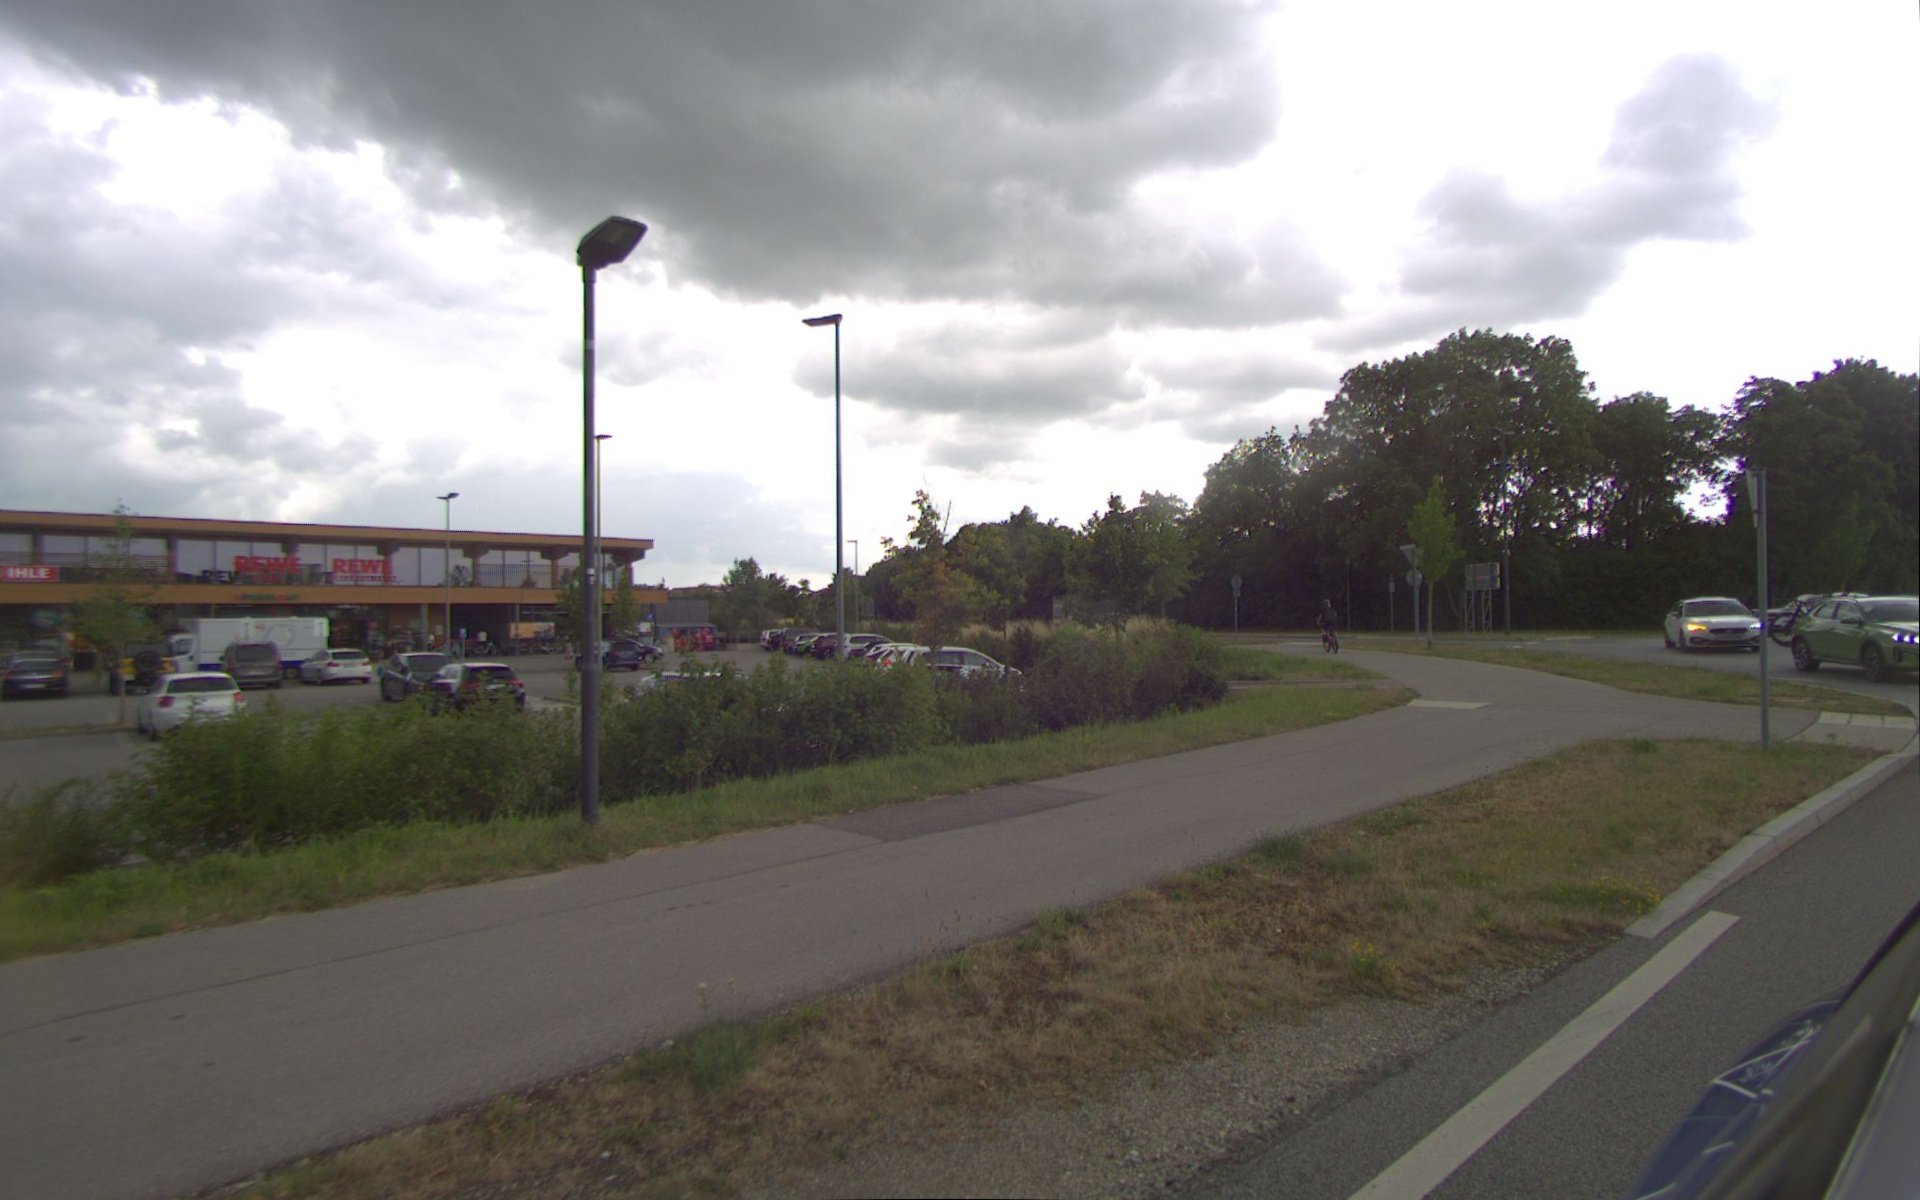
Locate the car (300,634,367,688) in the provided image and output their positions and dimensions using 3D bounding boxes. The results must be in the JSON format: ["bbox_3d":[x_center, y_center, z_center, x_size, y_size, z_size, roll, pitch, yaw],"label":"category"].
[{"bbox_3d":[-25.669,2.433,41.410,2.032,1.871,3.999,0,1,-36],"label":"car"}]

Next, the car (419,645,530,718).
[{"bbox_3d":[-12.853,2.113,26.729,1.771,1.728,3.385,0,-3,-42],"label":"car"}]

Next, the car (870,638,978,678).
[{"bbox_3d":[-1.412,2.232,39.442,3.916,1.377,1.848,0,1,-13],"label":"car"}]

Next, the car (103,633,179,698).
[{"bbox_3d":[-30.212,2.357,37.441,1.962,2.039,3.999,0,1,-36],"label":"car"}]

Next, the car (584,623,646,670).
[{"bbox_3d":[-16.768,2.210,49.052,1.961,2.039,4.002,0,1,-32],"label":"car"}]

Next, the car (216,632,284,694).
[{"bbox_3d":[-27.321,2.362,38.917,2.032,2.039,3.999,0,1,-36],"label":"car"}]

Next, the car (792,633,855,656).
[{"bbox_3d":[-8.892,2.865,65.996,3.916,1.377,1.705,0,1,-13],"label":"car"}]

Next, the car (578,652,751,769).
[{"bbox_3d":[-5.726,1.998,19.337,1.629,1.727,3.993,0,1,-42],"label":"car"}]

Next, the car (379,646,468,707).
[{"bbox_3d":[-17.038,2.358,32.048,1.962,1.504,4.131,0,1,-36],"label":"car"}]

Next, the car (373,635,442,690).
[{"bbox_3d":[-22.772,2.517,41.652,1.962,1.894,4.273,0,1,-36],"label":"car"}]

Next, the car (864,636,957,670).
[{"bbox_3d":[-2.247,2.369,45.301,3.916,1.377,1.705,0,1,-13],"label":"car"}]

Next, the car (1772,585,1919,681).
[{"bbox_3d":[17.759,0.535,19.263,1.846,1.608,5.033,-1,0,18],"label":"car"}]

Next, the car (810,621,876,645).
[{"bbox_3d":[-7.302,2.039,63.113,3.916,1.377,1.705,0,1,-13],"label":"car"}]

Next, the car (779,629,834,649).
[{"bbox_3d":[-11.269,2.830,74.218,3.916,1.377,1.705,0,1,-13],"label":"car"}]

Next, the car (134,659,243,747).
[{"bbox_3d":[-17.653,2.274,23.114,1.723,1.552,3.554,0,1,-42],"label":"car"}]

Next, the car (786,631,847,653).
[{"bbox_3d":[-9.704,2.856,68.481,3.916,1.377,1.705,0,1,-13],"label":"car"}]

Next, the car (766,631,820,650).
[{"bbox_3d":[-12.687,3.061,76.772,3.916,1.377,1.705,0,1,-13],"label":"car"}]

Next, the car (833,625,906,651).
[{"bbox_3d":[-5.175,2.127,57.559,3.916,1.377,1.705,0,1,-13],"label":"car"}]

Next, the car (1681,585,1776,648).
[{"bbox_3d":[20.796,0.410,27.529,1.859,1.561,4.146,-2,0,35],"label":"car"}]

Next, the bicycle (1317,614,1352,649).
[{"bbox_3d":[11.252,0.943,30.442,0.557,0.974,1.301,0,1,-1],"label":"bicycle"}]

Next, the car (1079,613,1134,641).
[{"bbox_3d":[10.520,1.903,72.798,1.959,1.794,4.080,0,1,-27],"label":"car"}]

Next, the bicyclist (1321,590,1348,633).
[{"bbox_3d":[11.250,0.346,30.429,0.545,1.259,0.659,0,0,-1],"label":"bicyclist"}]

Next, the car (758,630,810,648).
[{"bbox_3d":[-13.891,3.065,79.941,3.916,1.377,1.705,0,1,-13],"label":"car"}]

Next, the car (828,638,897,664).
[{"bbox_3d":[-5.855,3.043,60.702,3.916,1.377,1.705,0,1,-13],"label":"car"}]

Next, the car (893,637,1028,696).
[{"bbox_3d":[-0.008,2.143,33.209,4.154,1.738,1.705,0,0,-13],"label":"car"}]

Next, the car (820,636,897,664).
[{"bbox_3d":[-5.435,2.634,53.976,3.916,1.377,1.705,0,1,-13],"label":"car"}]

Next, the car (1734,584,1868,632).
[{"bbox_3d":[31.210,0.280,37.576,3.916,1.705,2.004,0,1,-17],"label":"car"}]

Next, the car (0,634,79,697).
[{"bbox_3d":[-32.308,2.264,35.343,1.962,2.040,3.997,0,-2,-36],"label":"car"}]
